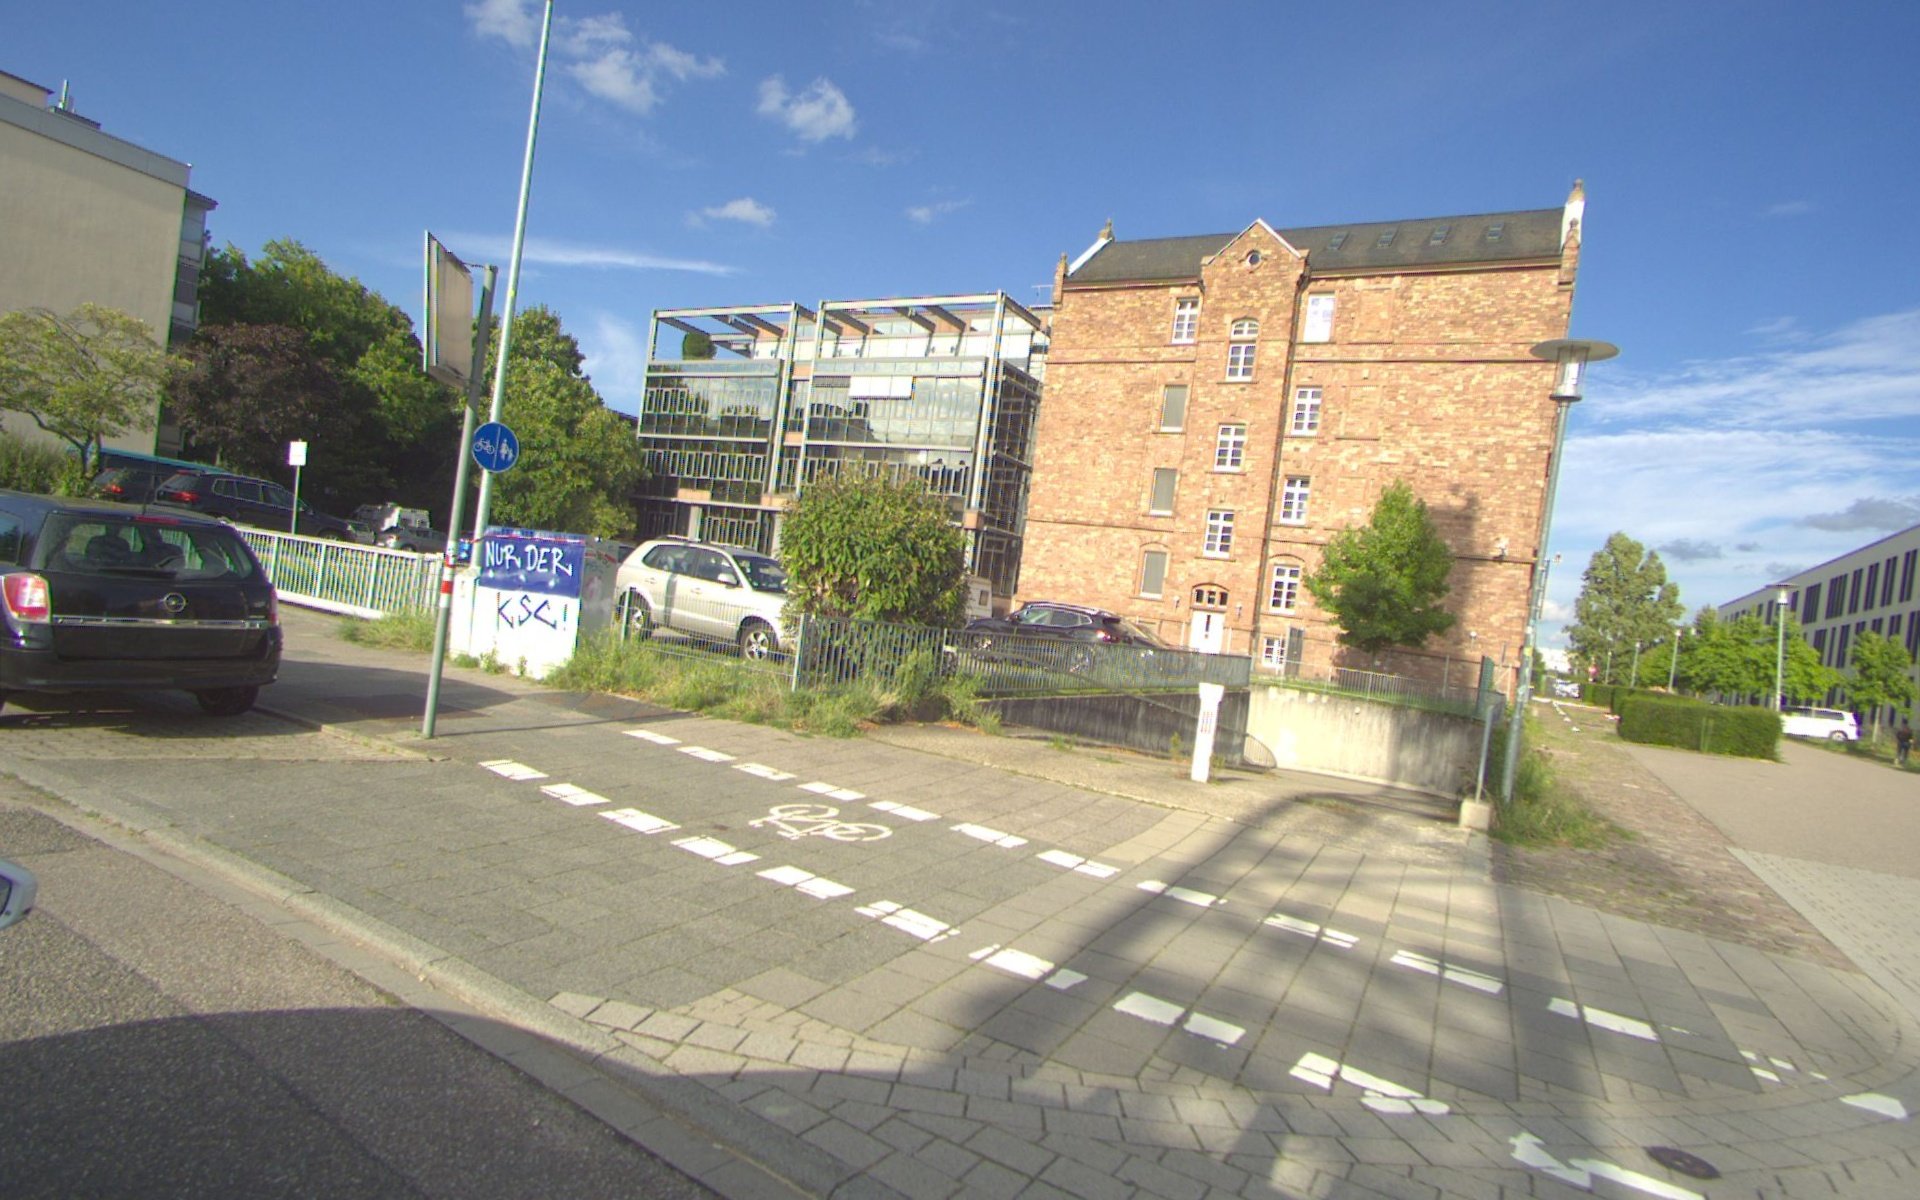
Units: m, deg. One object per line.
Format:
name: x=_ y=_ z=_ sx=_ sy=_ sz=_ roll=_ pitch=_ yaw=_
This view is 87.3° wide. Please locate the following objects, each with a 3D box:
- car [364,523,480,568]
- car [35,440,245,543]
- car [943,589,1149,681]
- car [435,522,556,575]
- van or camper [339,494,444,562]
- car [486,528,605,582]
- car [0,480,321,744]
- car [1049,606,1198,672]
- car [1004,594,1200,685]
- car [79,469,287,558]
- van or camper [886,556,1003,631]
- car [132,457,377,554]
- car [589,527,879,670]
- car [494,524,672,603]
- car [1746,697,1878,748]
car: x=-23.434 y=-2.348 z=43.935 sx=1.965 sy=1.346 sz=3.995 roll=8 pitch=1 yaw=27
car: x=-23.270 y=-3.026 z=28.707 sx=1.967 sy=2.213 sz=4.123 roll=8 pitch=1 yaw=32
car: x=2.056 y=0.818 z=24.461 sx=4.529 sy=1.609 sz=1.852 roll=7 pitch=1 yaw=30
car: x=-18.935 y=-2.075 z=41.158 sx=1.965 sy=1.571 sz=3.994 roll=8 pitch=1 yaw=28
van or camper: x=-29.596 y=-3.764 z=52.335 sx=5.036 sy=2.909 sz=2.333 roll=7 pitch=-1 yaw=32
car: x=-16.585 y=-1.767 z=40.434 sx=1.965 sy=1.616 sz=3.994 roll=8 pitch=1 yaw=28
car: x=-6.887 y=-0.081 z=7.541 sx=4.196 sy=1.514 sz=1.720 roll=7 pitch=0 yaw=30
car: x=4.789 y=1.126 z=29.566 sx=3.887 sy=1.281 sz=1.713 roll=9 pitch=2 yaw=25
car: x=3.773 y=1.007 z=26.827 sx=4.716 sy=1.766 sz=1.854 roll=7 pitch=1 yaw=25
car: x=-21.231 y=-2.327 z=27.630 sx=1.967 sy=1.760 sz=3.990 roll=8 pitch=1 yaw=32
van or camper: x=-0.557 y=-0.197 z=42.516 sx=2.550 sy=2.589 sz=5.249 roll=8 pitch=1 yaw=27
car: x=-17.202 y=-2.254 z=24.756 sx=1.967 sy=1.642 sz=4.452 roll=8 pitch=1 yaw=32
car: x=-3.598 y=-0.035 z=15.928 sx=4.081 sy=1.687 sz=1.996 roll=8 pitch=1 yaw=30
car: x=-9.671 y=-0.926 z=25.835 sx=3.928 sy=1.460 sz=1.998 roll=8 pitch=1 yaw=24
car: x=49.425 y=7.097 z=58.520 sx=5.396 sy=2.037 sz=1.997 roll=7 pitch=-1 yaw=32
